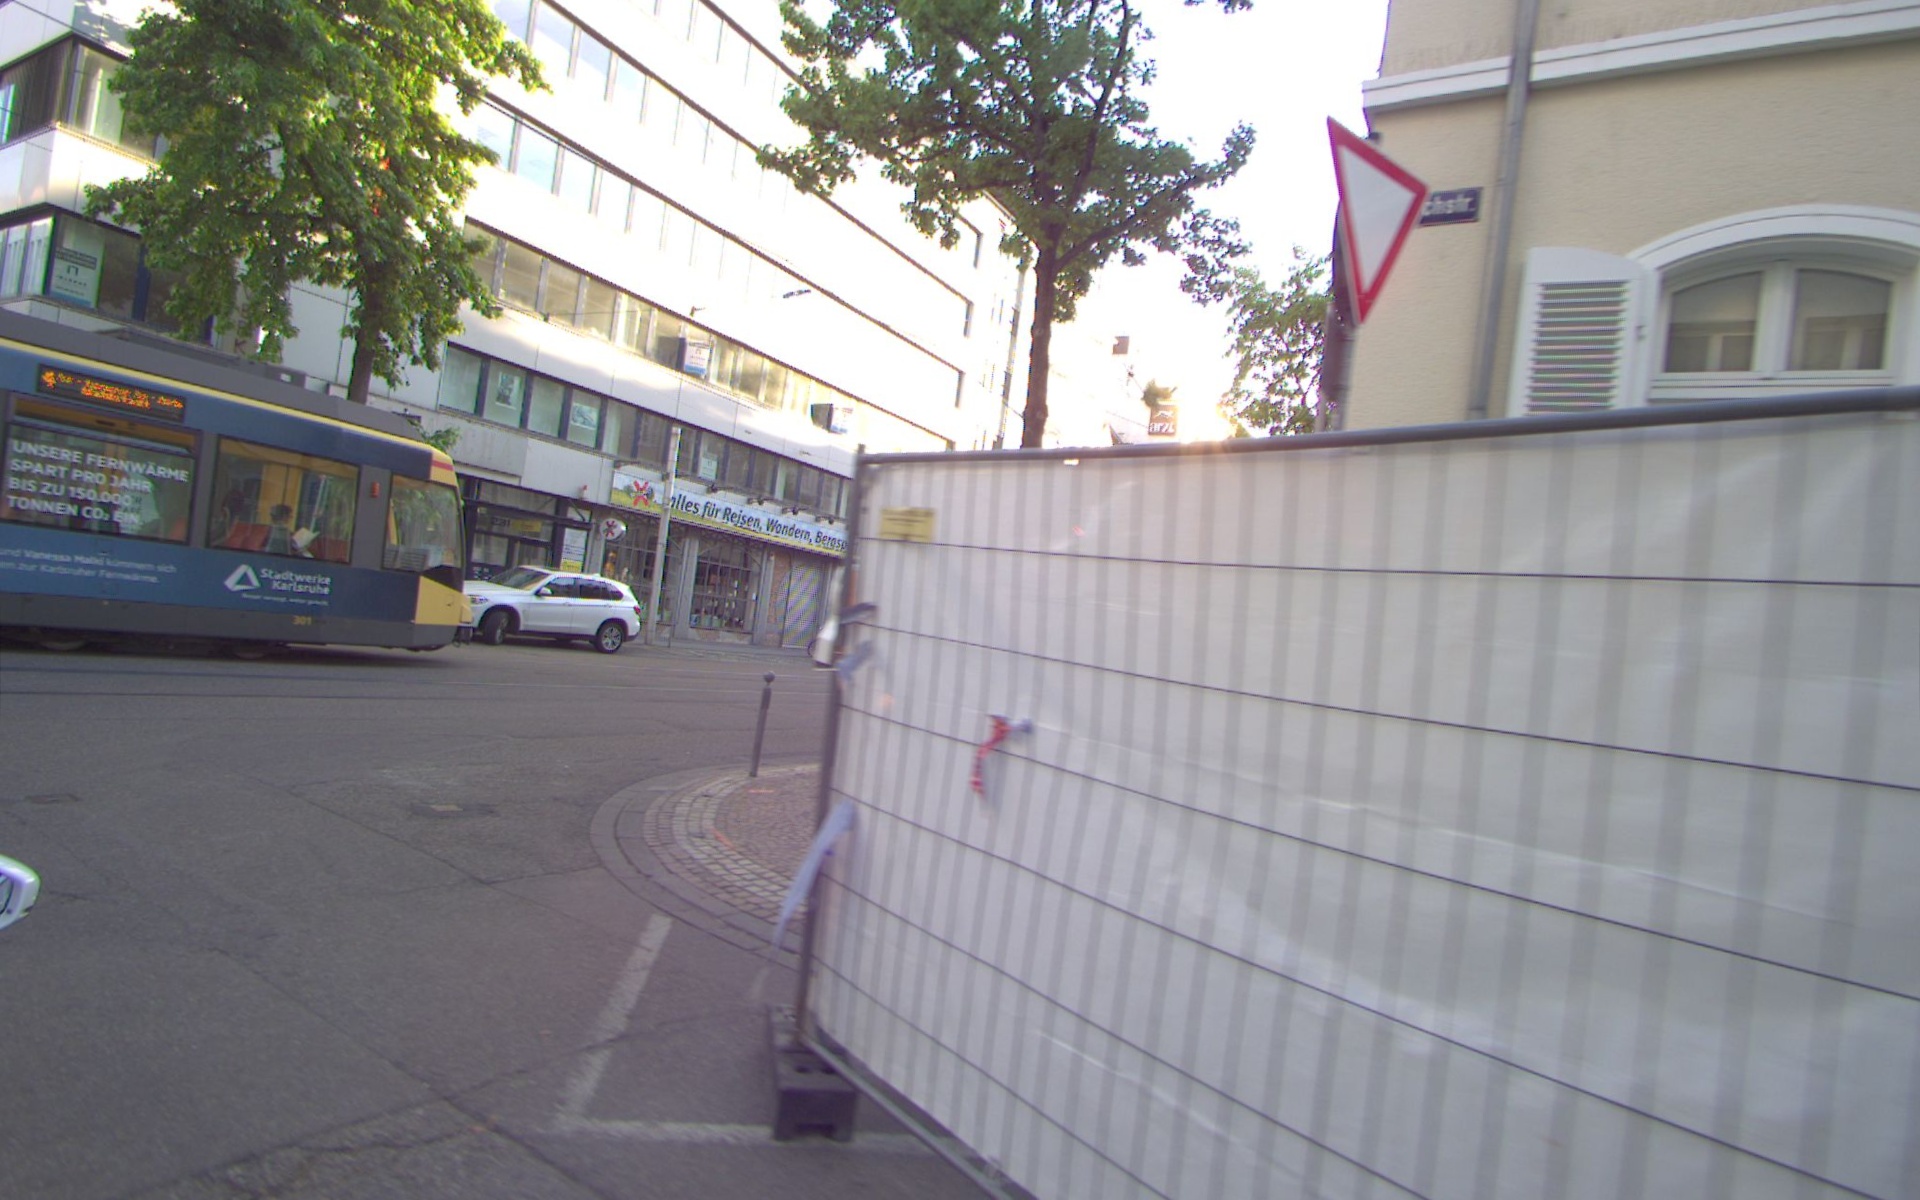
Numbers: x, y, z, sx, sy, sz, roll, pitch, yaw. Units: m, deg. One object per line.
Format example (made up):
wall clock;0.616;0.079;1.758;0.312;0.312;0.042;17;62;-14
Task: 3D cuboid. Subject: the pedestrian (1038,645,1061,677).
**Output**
pedestrian;4.671;3.190;52.740;0.718;1.577;0.837;7;0;33

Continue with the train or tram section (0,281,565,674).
train or tram section;-9.951;-1.274;11.286;2.976;3.565;10.356;6;-2;31

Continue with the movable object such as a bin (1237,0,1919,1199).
movable object such as a bin;3.715;0.647;1.975;5.469;2.907;2.640;7;0;29

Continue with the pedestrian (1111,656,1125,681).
pedestrian;10.140;4.413;64.577;0.470;1.566;0.746;7;0;31

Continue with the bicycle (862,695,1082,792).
bicycle;0.153;1.551;11.216;2.040;0.714;1.331;6;-2;25

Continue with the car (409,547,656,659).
car;-9.475;0.148;22.710;1.967;1.791;4.663;9;-1;33

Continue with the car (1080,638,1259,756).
car;3.901;1.762;18.231;1.746;1.784;3.870;3;-4;34

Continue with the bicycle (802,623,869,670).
bicycle;-4.104;1.528;33.082;2.133;1.173;0.758;9;2;38
